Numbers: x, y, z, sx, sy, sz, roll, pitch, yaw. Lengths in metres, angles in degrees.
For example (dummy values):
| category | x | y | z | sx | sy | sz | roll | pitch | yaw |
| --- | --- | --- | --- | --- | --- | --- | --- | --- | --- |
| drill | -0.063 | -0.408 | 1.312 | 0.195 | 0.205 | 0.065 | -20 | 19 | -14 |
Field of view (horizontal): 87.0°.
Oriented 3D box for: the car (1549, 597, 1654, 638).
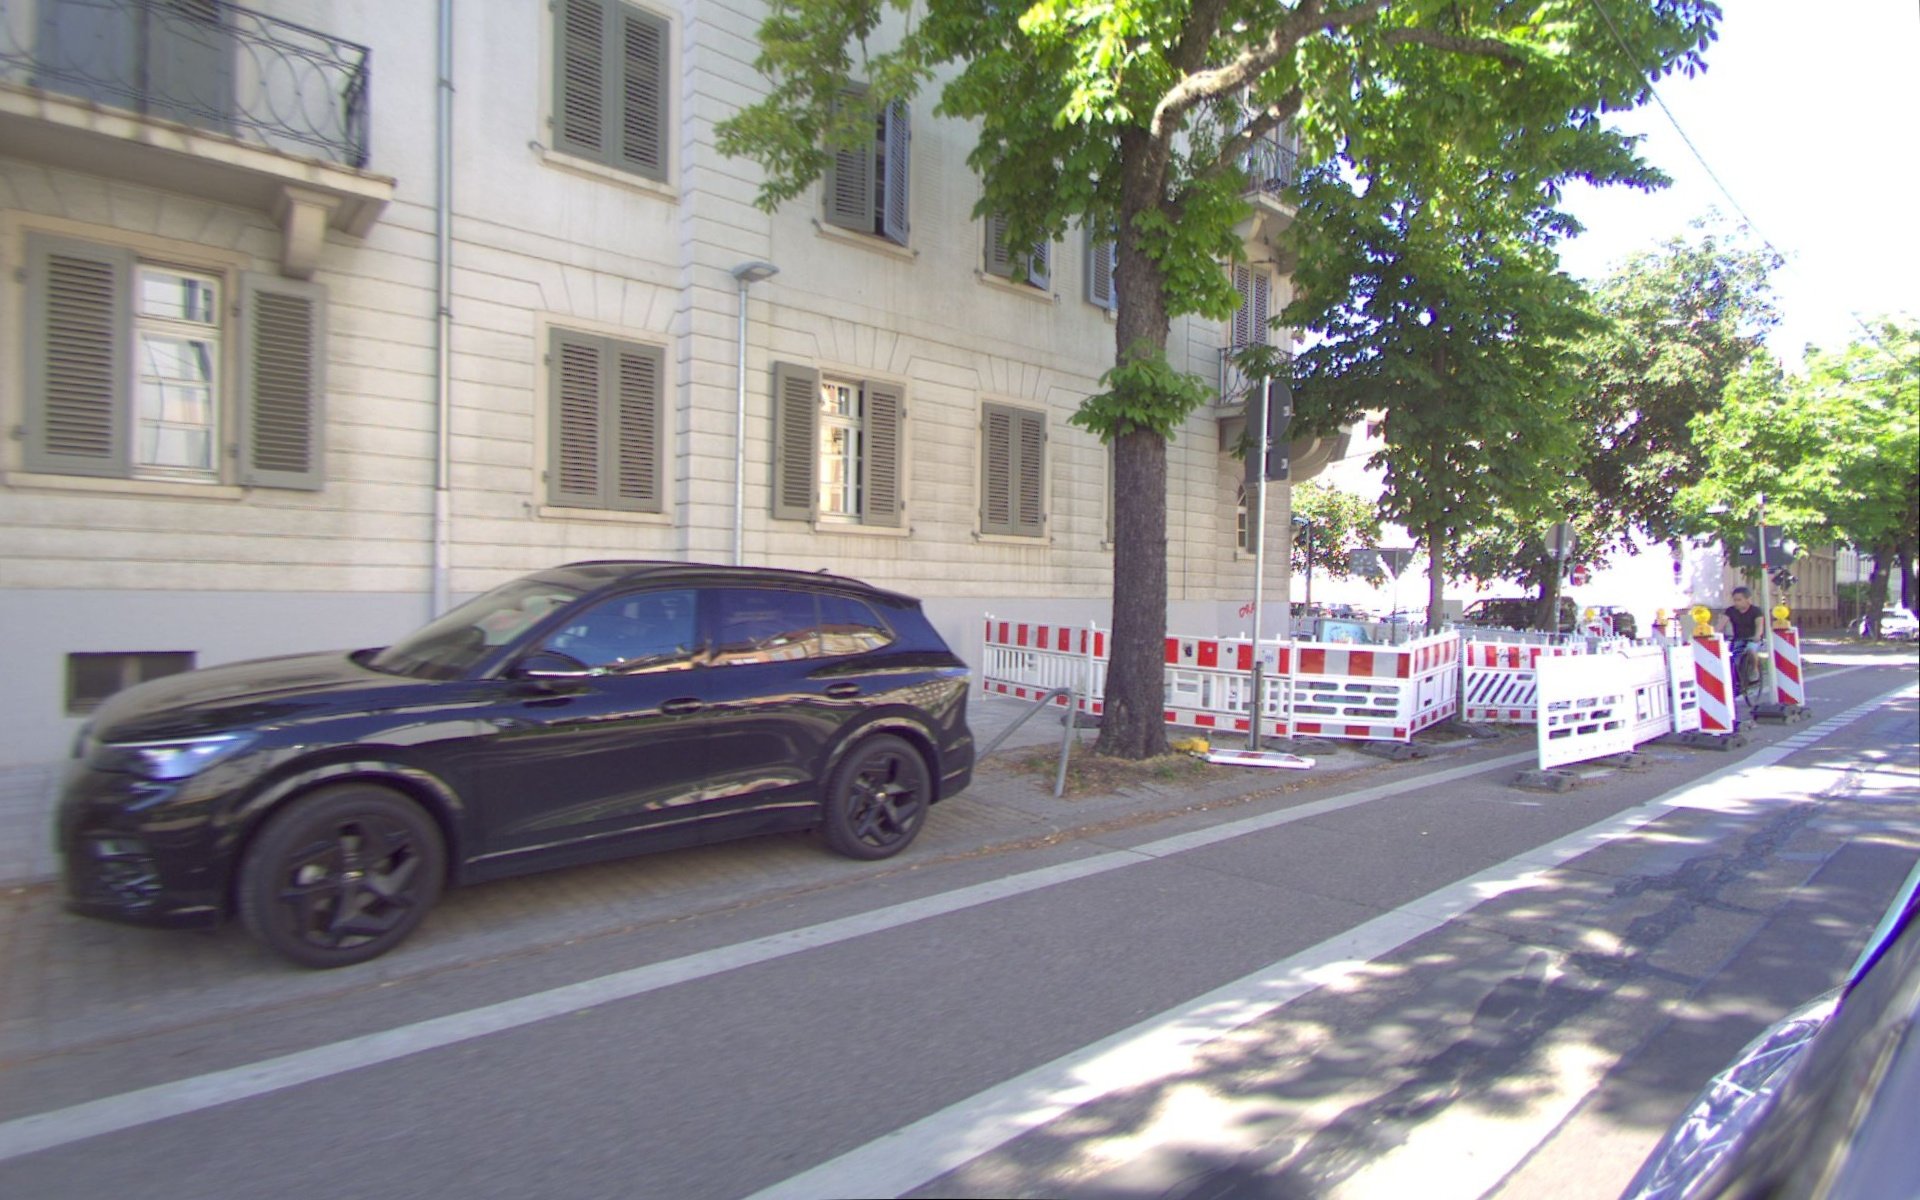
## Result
| category | x | y | z | sx | sy | sz | roll | pitch | yaw |
| --- | --- | --- | --- | --- | --- | --- | --- | --- | --- |
| car | 26.733 | 0.709 | 42.277 | 1.687 | 1.557 | 3.447 | -3 | 1 | -13 |

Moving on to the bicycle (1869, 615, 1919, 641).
| category | x | y | z | sx | sy | sz | roll | pitch | yaw |
| --- | --- | --- | --- | --- | --- | --- | --- | --- | --- |
| bicycle | 37.545 | 1.113 | 40.617 | 1.564 | 0.992 | 0.631 | 2 | 1 | 41 |

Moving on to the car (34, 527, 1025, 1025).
| category | x | y | z | sx | sy | sz | roll | pitch | yaw |
| --- | --- | --- | --- | --- | --- | --- | --- | --- | --- |
| car | -1.908 | 0.546 | 5.492 | 4.503 | 1.646 | 1.814 | 0 | 2 | -41 |

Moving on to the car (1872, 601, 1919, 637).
| category | x | y | z | sx | sy | sz | roll | pitch | yaw |
| --- | --- | --- | --- | --- | --- | --- | --- | --- | --- |
| car | 41.294 | 0.804 | 44.159 | 4.140 | 1.490 | 1.704 | 0 | 1 | -41 |

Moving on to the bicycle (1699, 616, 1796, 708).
| category | x | y | z | sx | sy | sz | roll | pitch | yaw |
| --- | --- | --- | --- | --- | --- | --- | --- | --- | --- |
| bicycle | 11.678 | 0.877 | 14.978 | 2.060 | 1.258 | 0.762 | 0 | -1 | -42 |

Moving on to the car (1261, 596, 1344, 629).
| category | x | y | z | sx | sy | sz | roll | pitch | yaw |
| --- | --- | --- | --- | --- | --- | --- | --- | --- | --- |
| car | 18.274 | 0.631 | 54.222 | 1.895 | 1.630 | 4.629 | -2 | 1 | -15 |

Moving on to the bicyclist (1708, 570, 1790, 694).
| category | x | y | z | sx | sy | sz | roll | pitch | yaw |
| --- | --- | --- | --- | --- | --- | --- | --- | --- | --- |
| bicyclist | 11.683 | 0.455 | 14.990 | 1.028 | 1.761 | 0.762 | 1 | -1 | -41 |

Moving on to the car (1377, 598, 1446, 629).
| category | x | y | z | sx | sy | sz | roll | pitch | yaw |
| --- | --- | --- | --- | --- | --- | --- | --- | --- | --- |
| car | 23.605 | 0.686 | 53.017 | 1.408 | 1.519 | 3.509 | -1 | 0 | -13 |

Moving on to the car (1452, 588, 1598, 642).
| category | x | y | z | sx | sy | sz | roll | pitch | yaw |
| --- | --- | --- | --- | --- | --- | --- | --- | --- | --- |
| car | 21.976 | 0.526 | 39.654 | 1.958 | 1.914 | 5.077 | -2 | 1 | -15 |

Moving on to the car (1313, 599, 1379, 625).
| category | x | y | z | sx | sy | sz | roll | pitch | yaw |
| --- | --- | --- | --- | --- | --- | --- | --- | --- | --- |
| car | 22.397 | 0.678 | 58.856 | 1.605 | 1.434 | 3.970 | -1 | 0 | -13 |
